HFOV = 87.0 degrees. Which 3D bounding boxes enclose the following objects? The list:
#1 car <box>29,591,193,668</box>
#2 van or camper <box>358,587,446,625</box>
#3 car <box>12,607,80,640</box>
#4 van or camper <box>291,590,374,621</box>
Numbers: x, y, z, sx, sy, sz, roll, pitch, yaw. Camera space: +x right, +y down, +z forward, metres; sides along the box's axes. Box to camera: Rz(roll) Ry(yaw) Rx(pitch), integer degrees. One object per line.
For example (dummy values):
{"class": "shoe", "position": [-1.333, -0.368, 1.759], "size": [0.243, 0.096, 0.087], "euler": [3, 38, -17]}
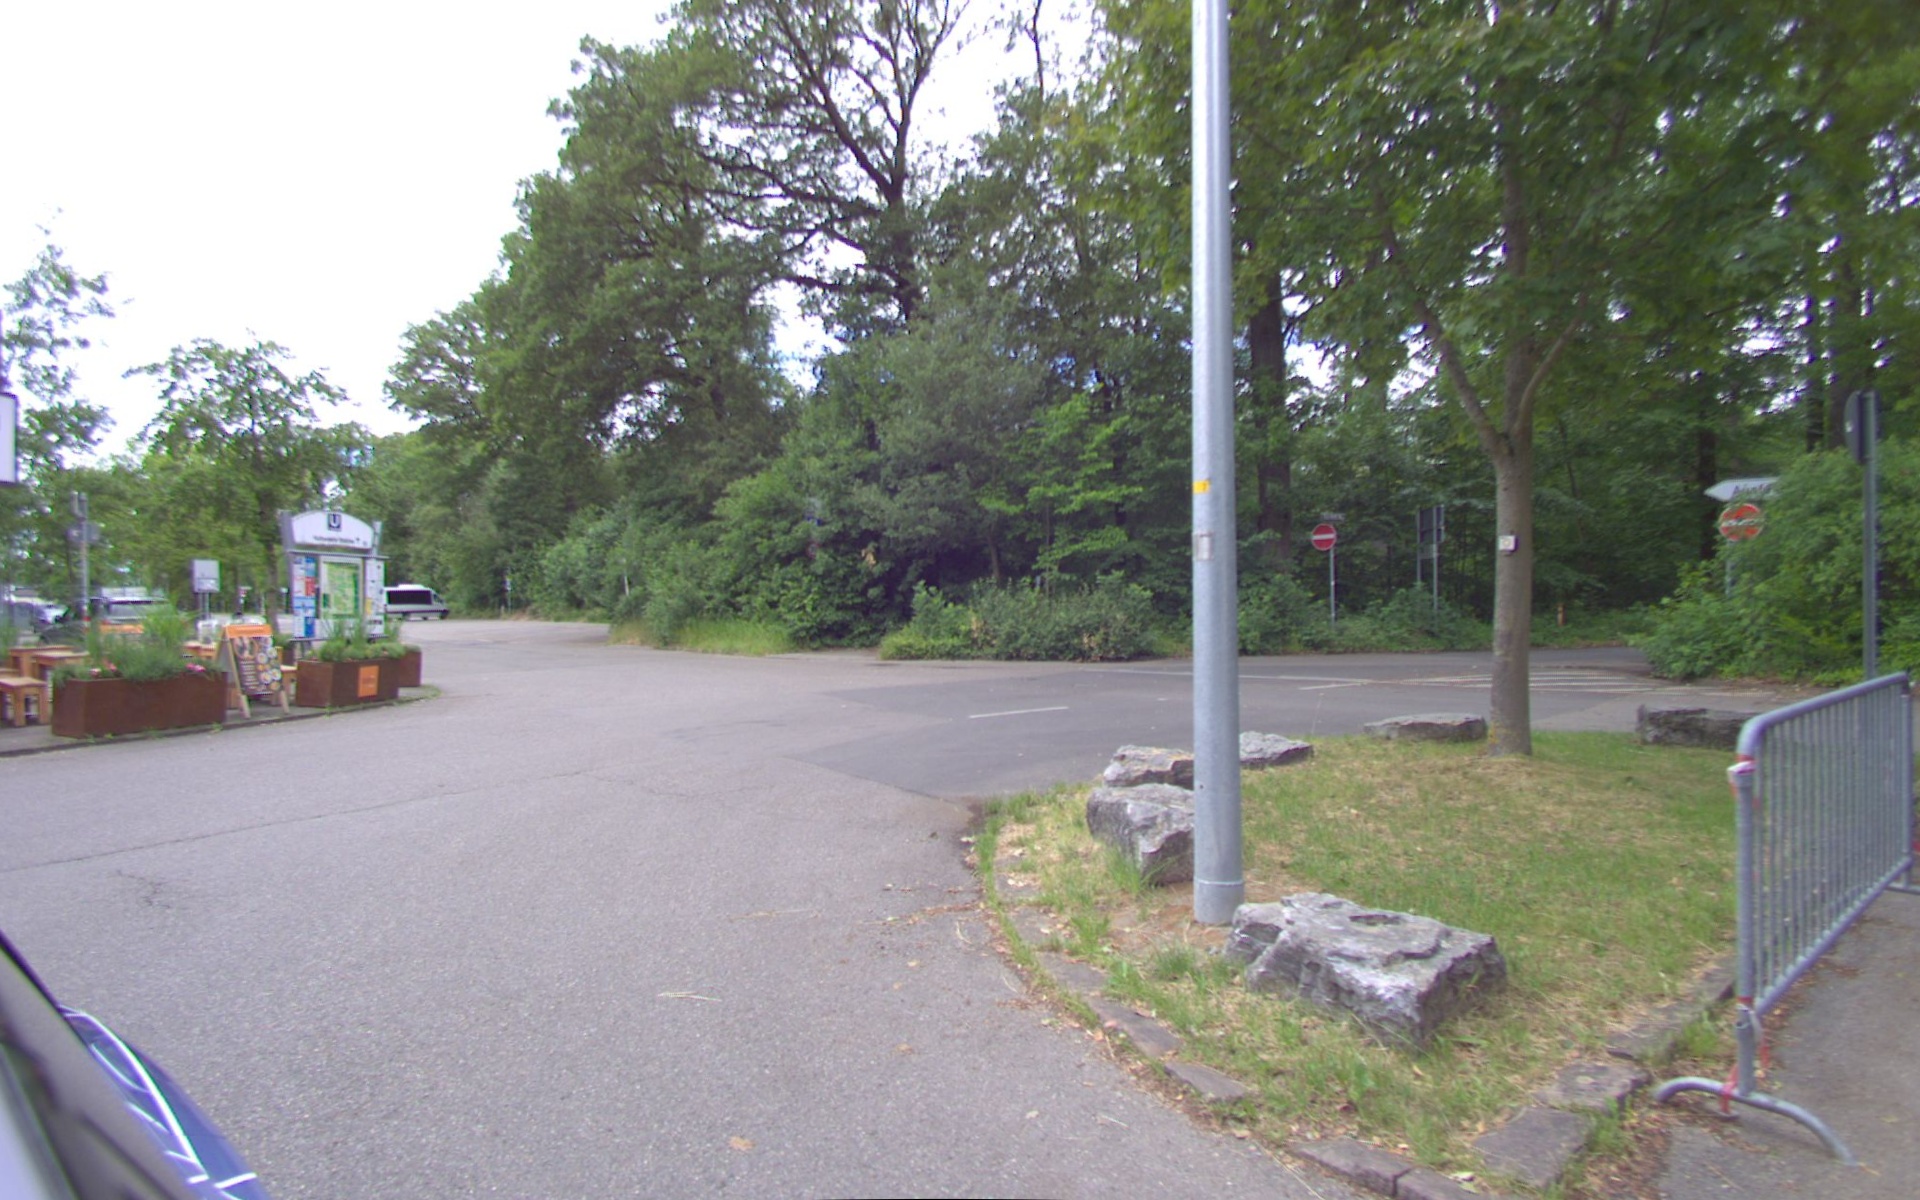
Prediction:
{"class": "car", "position": [-20.368, 0.662, 24.234], "size": [4.334, 1.682, 1.913], "euler": [-1, 0, 35]}
{"class": "van or camper", "position": [-44.259, 0.444, 80.551], "size": [2.046, 2.871, 7.319], "euler": [-1, 1, 9]}
{"class": "car", "position": [-51.766, 1.329, 57.290], "size": [4.283, 1.793, 1.857], "euler": [-1, 0, 33]}
{"class": "van or camper", "position": [-60.657, 0.468, 98.115], "size": [2.184, 2.871, 7.304], "euler": [-1, 1, 15]}
